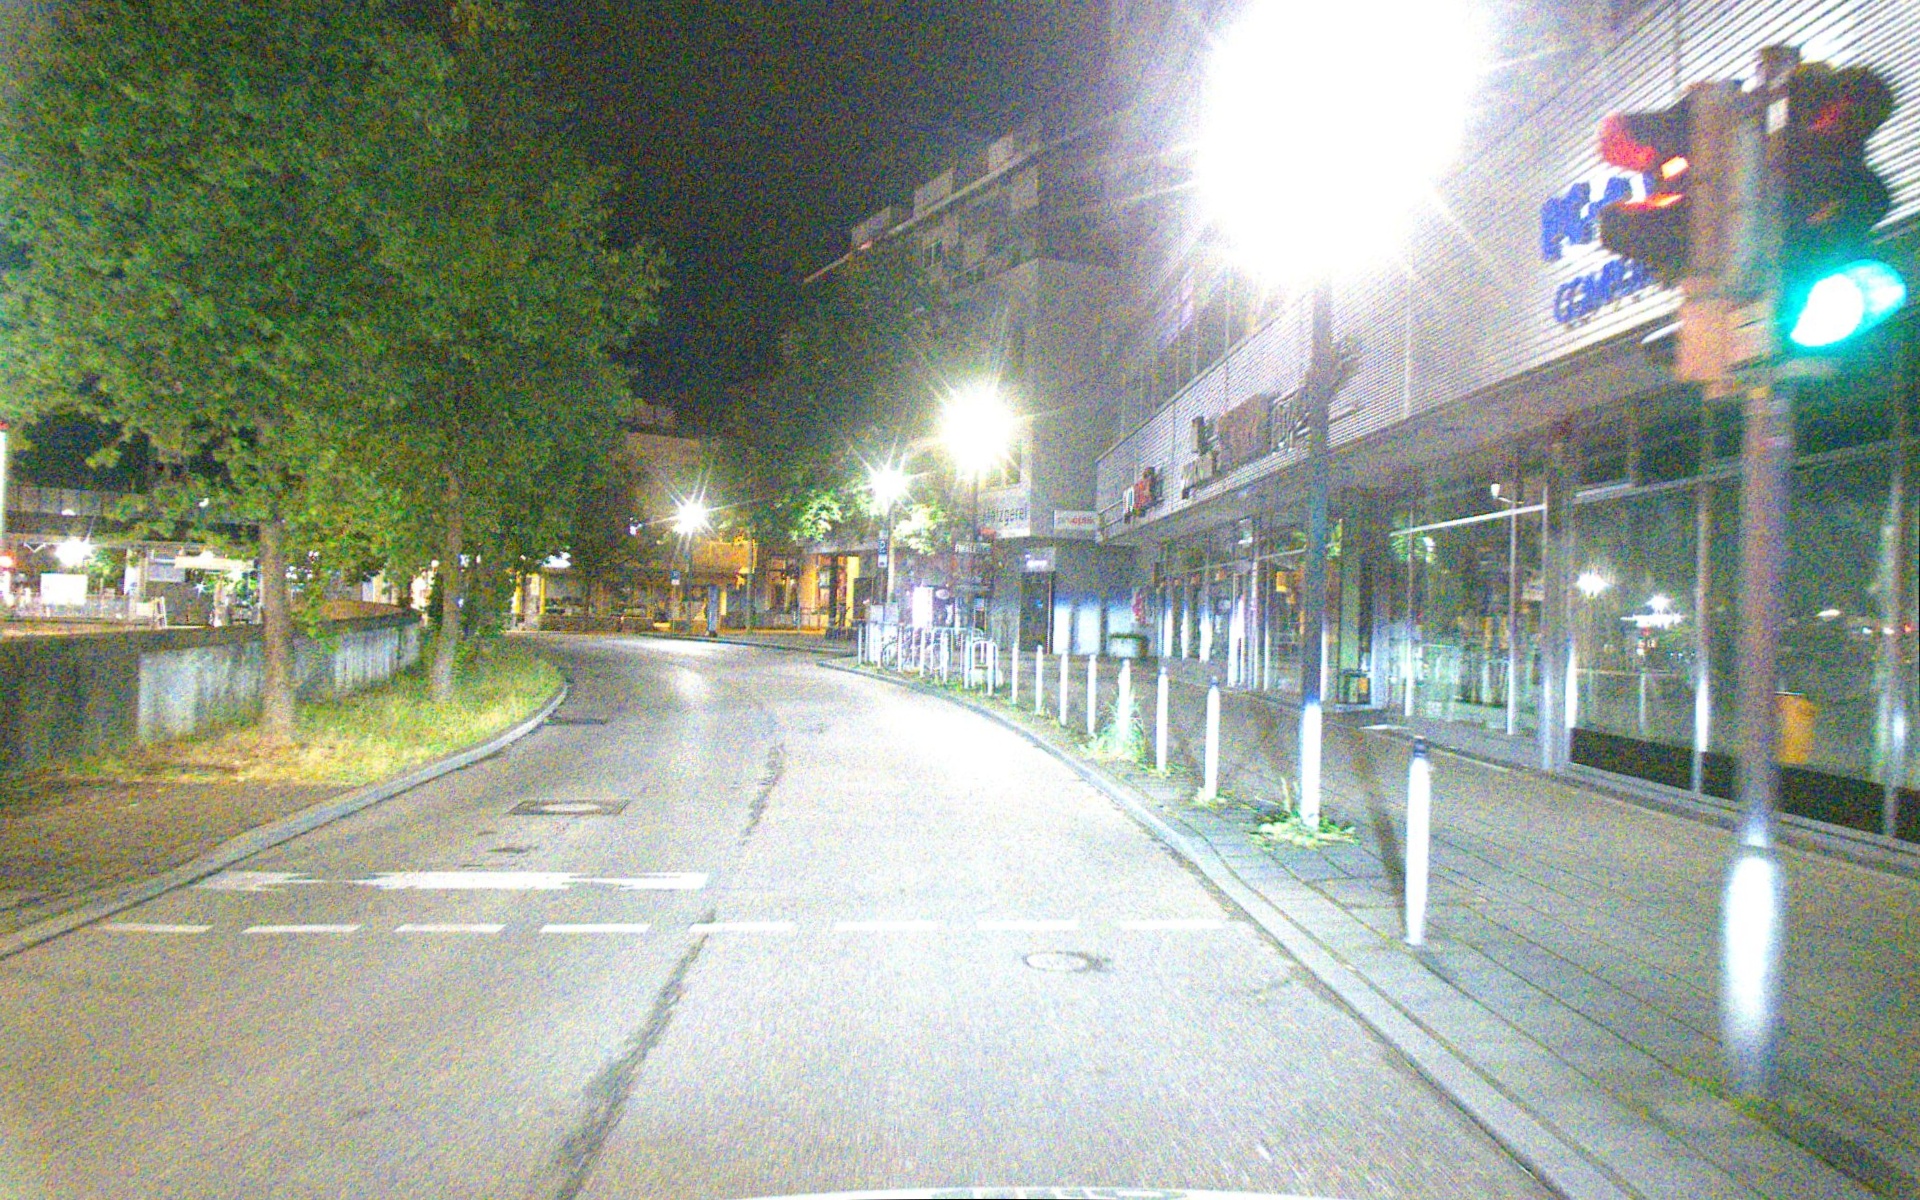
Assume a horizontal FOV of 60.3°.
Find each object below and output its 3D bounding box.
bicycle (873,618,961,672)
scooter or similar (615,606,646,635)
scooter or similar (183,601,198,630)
[{"bbox_3d":[-0.902,0.945,34.858,1.728,1.081,0.650,2,0,-26],"label":"bicycle"},{"bbox_3d":[-15.321,0.956,76.846,1.232,1.248,0.593,3,0,-29],"label":"scooter or similar"},{"bbox_3d":[-35.798,0.724,76.935,0.426,1.307,1.132,0,1,-35],"label":"scooter or similar"}]
